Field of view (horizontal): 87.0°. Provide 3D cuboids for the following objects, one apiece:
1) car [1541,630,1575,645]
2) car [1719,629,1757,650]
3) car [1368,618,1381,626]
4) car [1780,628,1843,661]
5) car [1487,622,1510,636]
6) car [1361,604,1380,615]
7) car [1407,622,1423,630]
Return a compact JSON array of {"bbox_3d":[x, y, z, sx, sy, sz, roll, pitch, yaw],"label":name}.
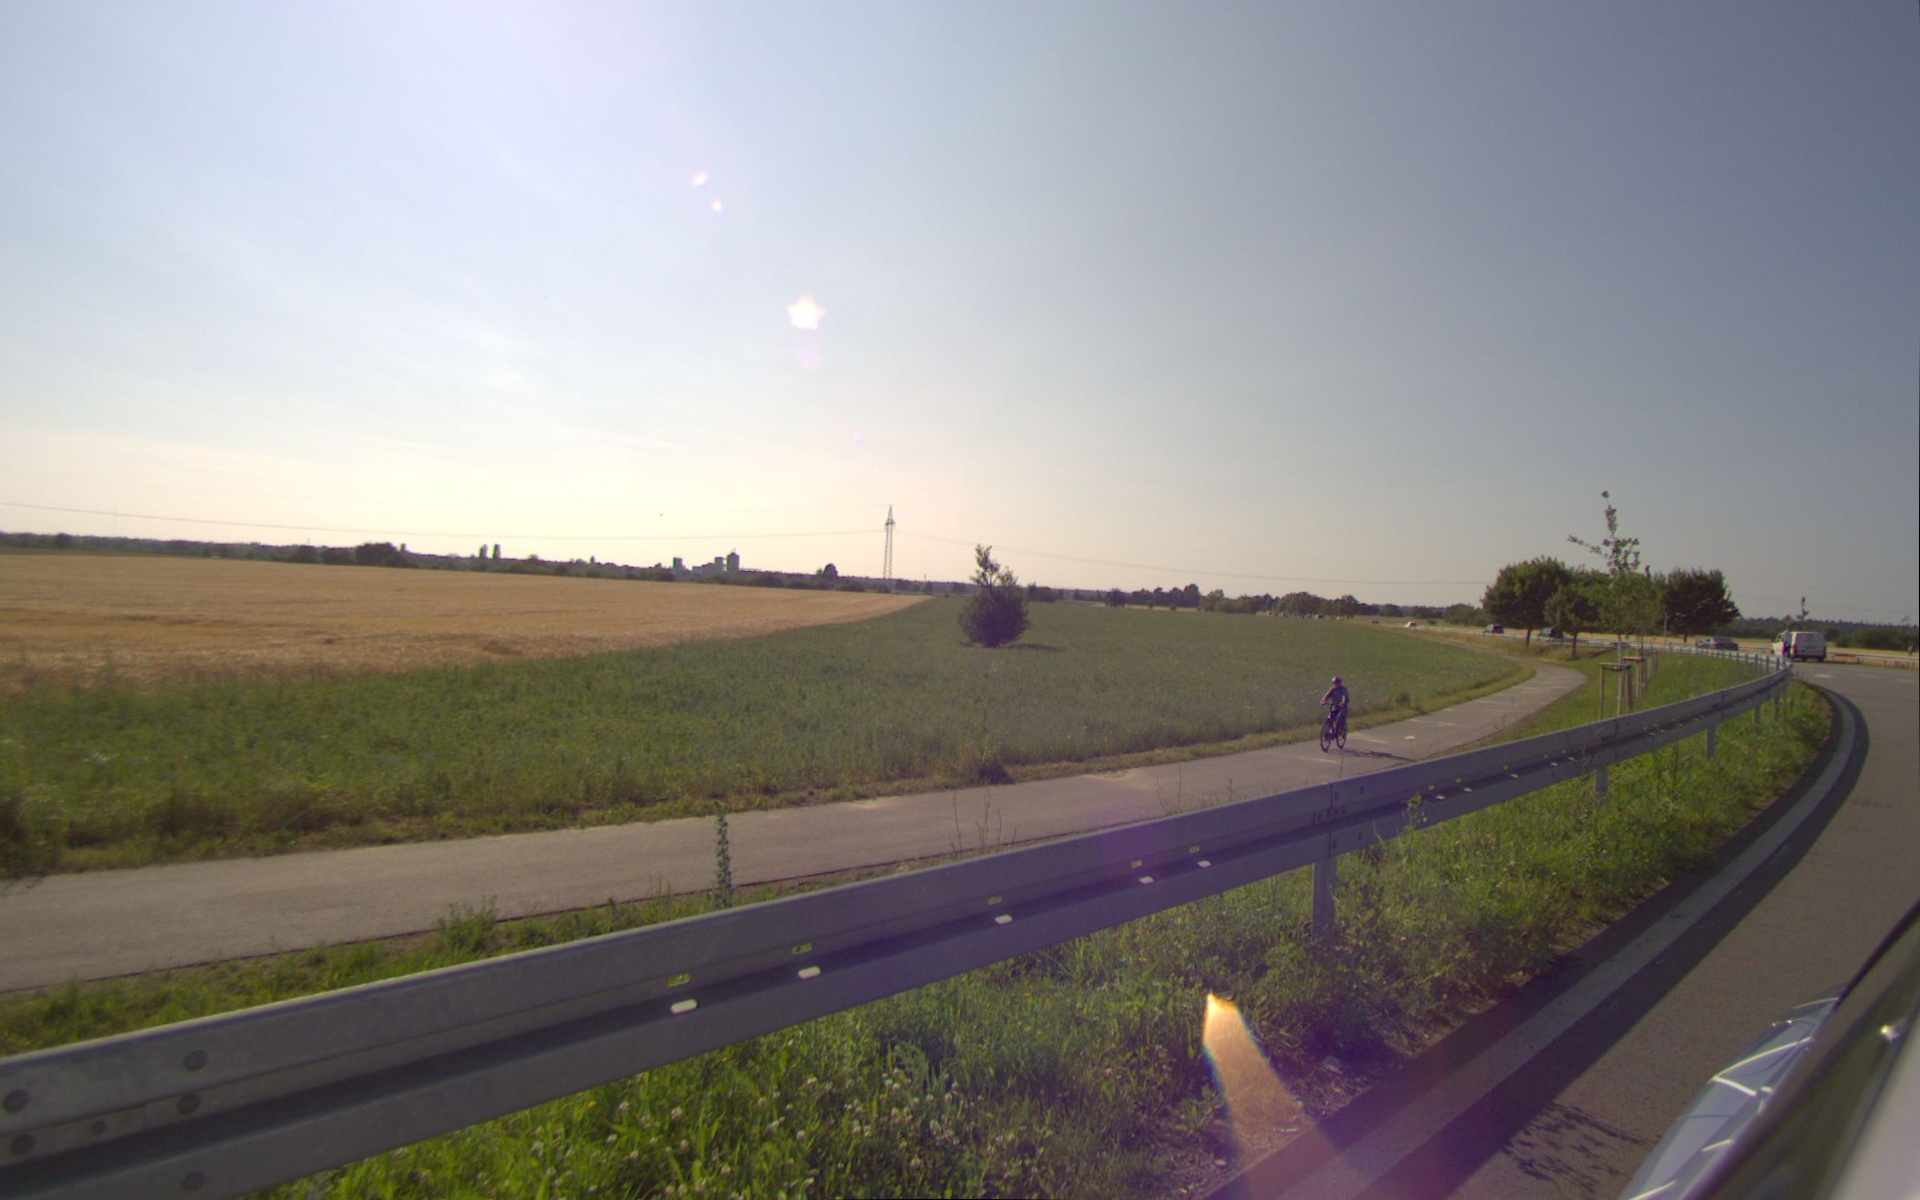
[{"bbox_3d":[72.575,4.538,122.816,1.968,1.613,4.846,2,-1,11],"label":"car"},{"bbox_3d":[61.434,3.150,79.955,1.786,1.467,4.651,1,-3,31],"label":"car"},{"bbox_3d":[93.318,4.903,227.713,1.814,1.563,4.233,0,1,10],"label":"car"},{"bbox_3d":[56.822,3.015,67.633,2.102,2.040,5.101,1,-3,27],"label":"car"},{"bbox_3d":[76.721,4.120,144.297,1.862,1.820,5.066,0,1,16],"label":"car"},{"bbox_3d":[80.620,1.879,198.849,2.776,2.039,6.075,0,0,14],"label":"car"},{"bbox_3d":[86.781,4.918,193.021,1.830,1.467,4.138,0,0,12],"label":"car"}]
